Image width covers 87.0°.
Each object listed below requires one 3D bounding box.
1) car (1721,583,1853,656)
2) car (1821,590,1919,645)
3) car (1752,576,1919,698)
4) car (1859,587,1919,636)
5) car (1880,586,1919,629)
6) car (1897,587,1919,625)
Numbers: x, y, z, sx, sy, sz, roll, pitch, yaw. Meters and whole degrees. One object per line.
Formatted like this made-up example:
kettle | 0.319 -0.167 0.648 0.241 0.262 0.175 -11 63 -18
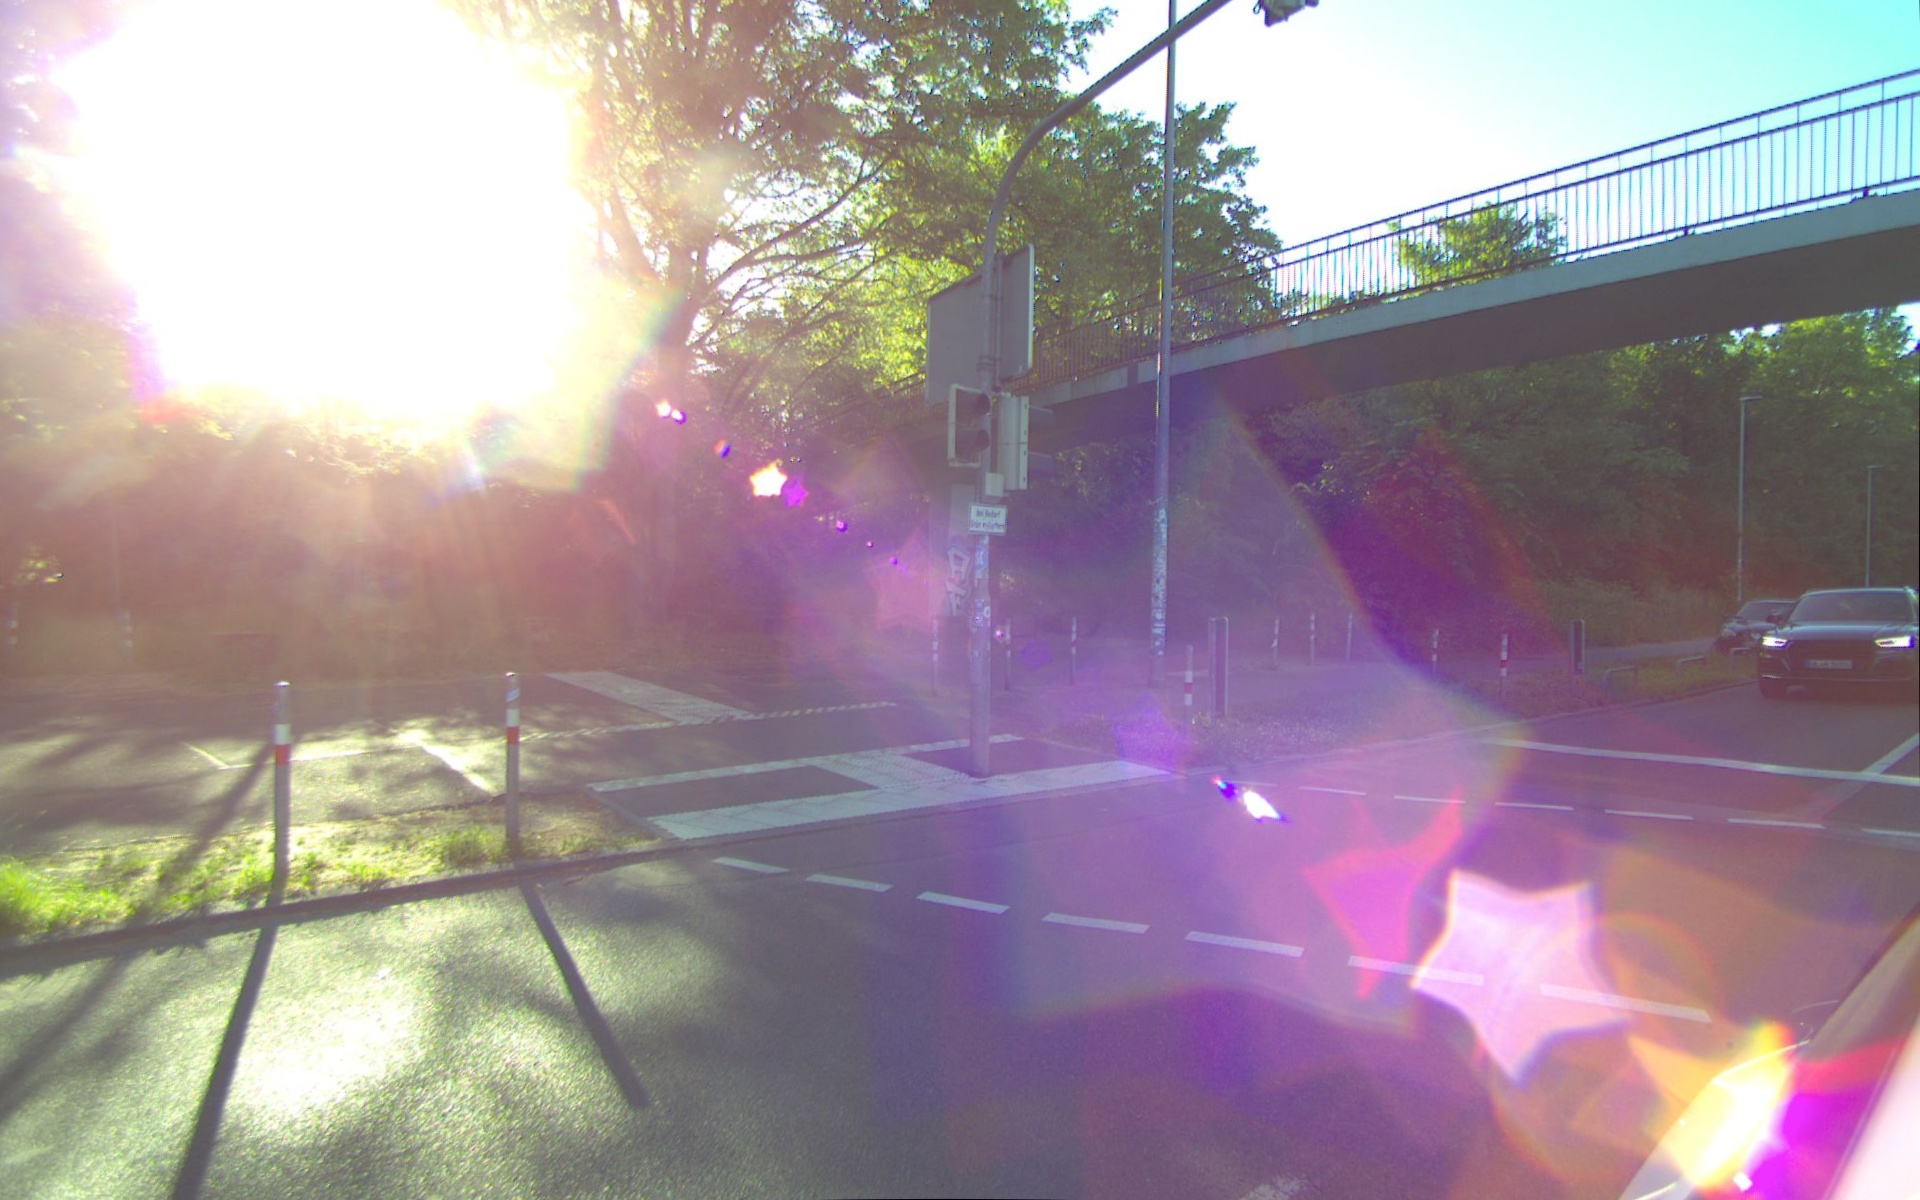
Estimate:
car | 19.184 0.391 23.414 4.054 1.527 1.693 -1 1 -41
car | 27.949 0.475 31.047 4.081 1.526 1.736 -1 2 -41
car | 13.945 0.498 15.511 4.286 1.628 1.991 -1 -2 -41
car | 32.205 0.349 34.550 4.065 1.526 1.703 -1 2 -41
car | 36.299 0.264 38.260 4.152 1.526 1.736 -1 2 -41
car | 40.100 0.237 41.684 4.319 1.526 1.736 -1 2 -41
